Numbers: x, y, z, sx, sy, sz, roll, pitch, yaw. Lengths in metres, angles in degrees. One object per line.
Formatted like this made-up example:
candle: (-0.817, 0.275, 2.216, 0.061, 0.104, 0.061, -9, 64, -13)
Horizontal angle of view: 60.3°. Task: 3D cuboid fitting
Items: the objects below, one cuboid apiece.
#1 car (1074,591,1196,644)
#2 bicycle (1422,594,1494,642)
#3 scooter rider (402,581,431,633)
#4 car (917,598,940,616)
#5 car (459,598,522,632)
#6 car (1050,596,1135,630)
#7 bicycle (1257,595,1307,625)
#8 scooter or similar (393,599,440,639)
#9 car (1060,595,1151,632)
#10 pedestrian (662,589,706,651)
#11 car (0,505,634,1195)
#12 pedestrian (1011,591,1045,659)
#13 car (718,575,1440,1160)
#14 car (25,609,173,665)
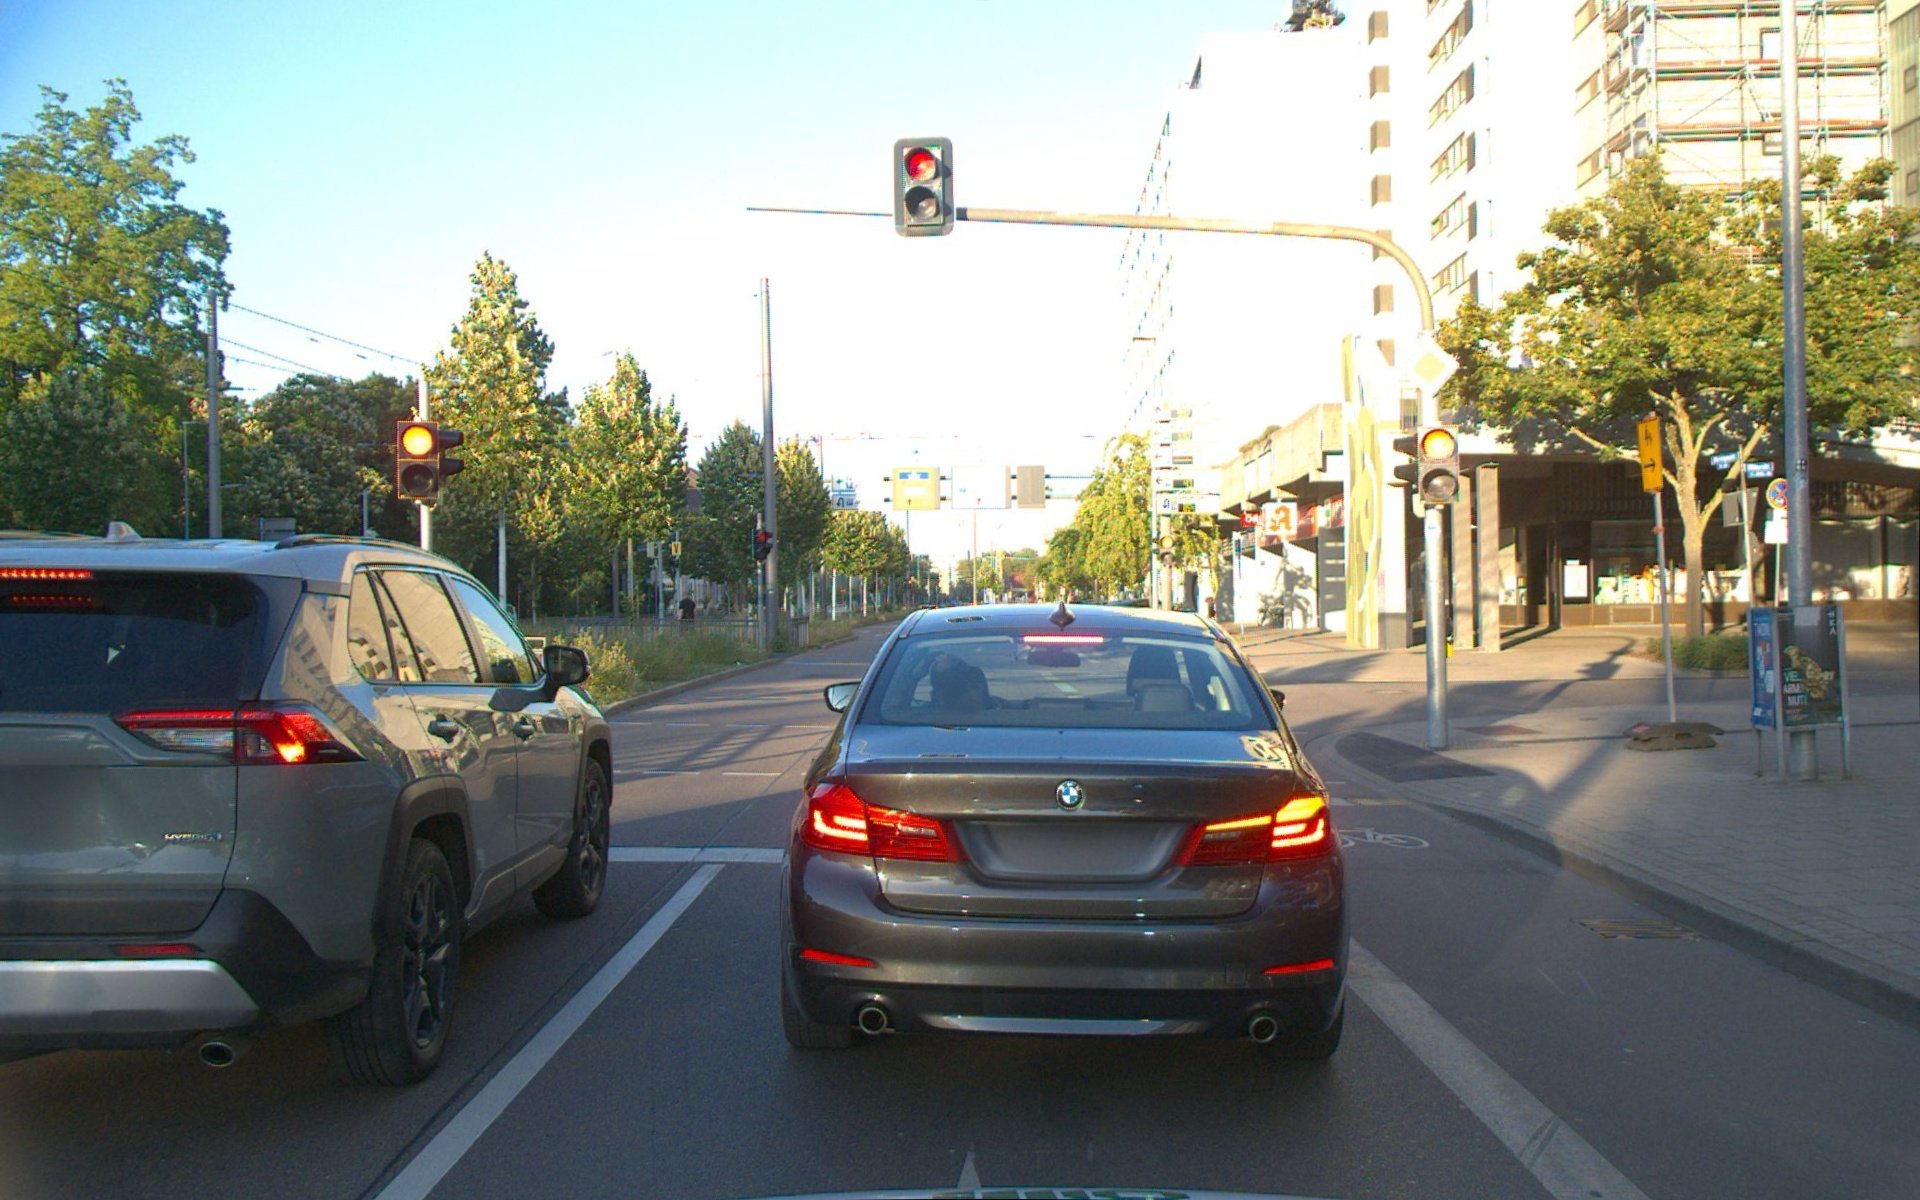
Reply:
car: (6.021, 0.562, 56.643, 4.234, 1.687, 1.831, -1, 1, -43)
bicycle: (12.489, 0.445, 41.525, 0.678, 1.169, 2.012, 2, -1, -18)
scooter rider: (-16.391, 0.210, 49.867, 0.808, 1.540, 0.649, -1, 0, -20)
car: (-2.783, 0.617, 146.895, 1.938, 1.458, 4.843, 0, 1, 0)
car: (-21.614, 0.687, 76.231, 1.763, 1.507, 3.783, -1, 0, 0)
car: (6.830, 0.657, 85.248, 4.219, 1.687, 1.838, 0, 1, -36)
bicycle: (13.448, 0.433, 69.166, 1.974, 1.169, 0.691, 2, -1, 6)
scooter or similar: (-16.376, 0.565, 49.838, 1.310, 1.173, 0.510, -1, 0, -21)
car: (6.992, 0.627, 79.184, 4.221, 1.687, 1.837, 0, 1, -36)
pedestrian: (-7.364, 0.528, 44.132, 0.805, 1.614, 0.825, -1, 0, -42)
car: (-2.506, 0.566, 6.163, 1.817, 1.687, 4.268, 0, 1, -1)
pedestrian: (1.751, 0.637, 42.873, 0.818, 1.742, 0.647, -1, 0, -2)
car: (0.360, 0.672, 6.626, 1.892, 1.507, 4.523, 0, 1, 1)
car: (-26.312, 1.092, 50.720, 1.952, 1.507, 4.525, 0, 1, 4)
